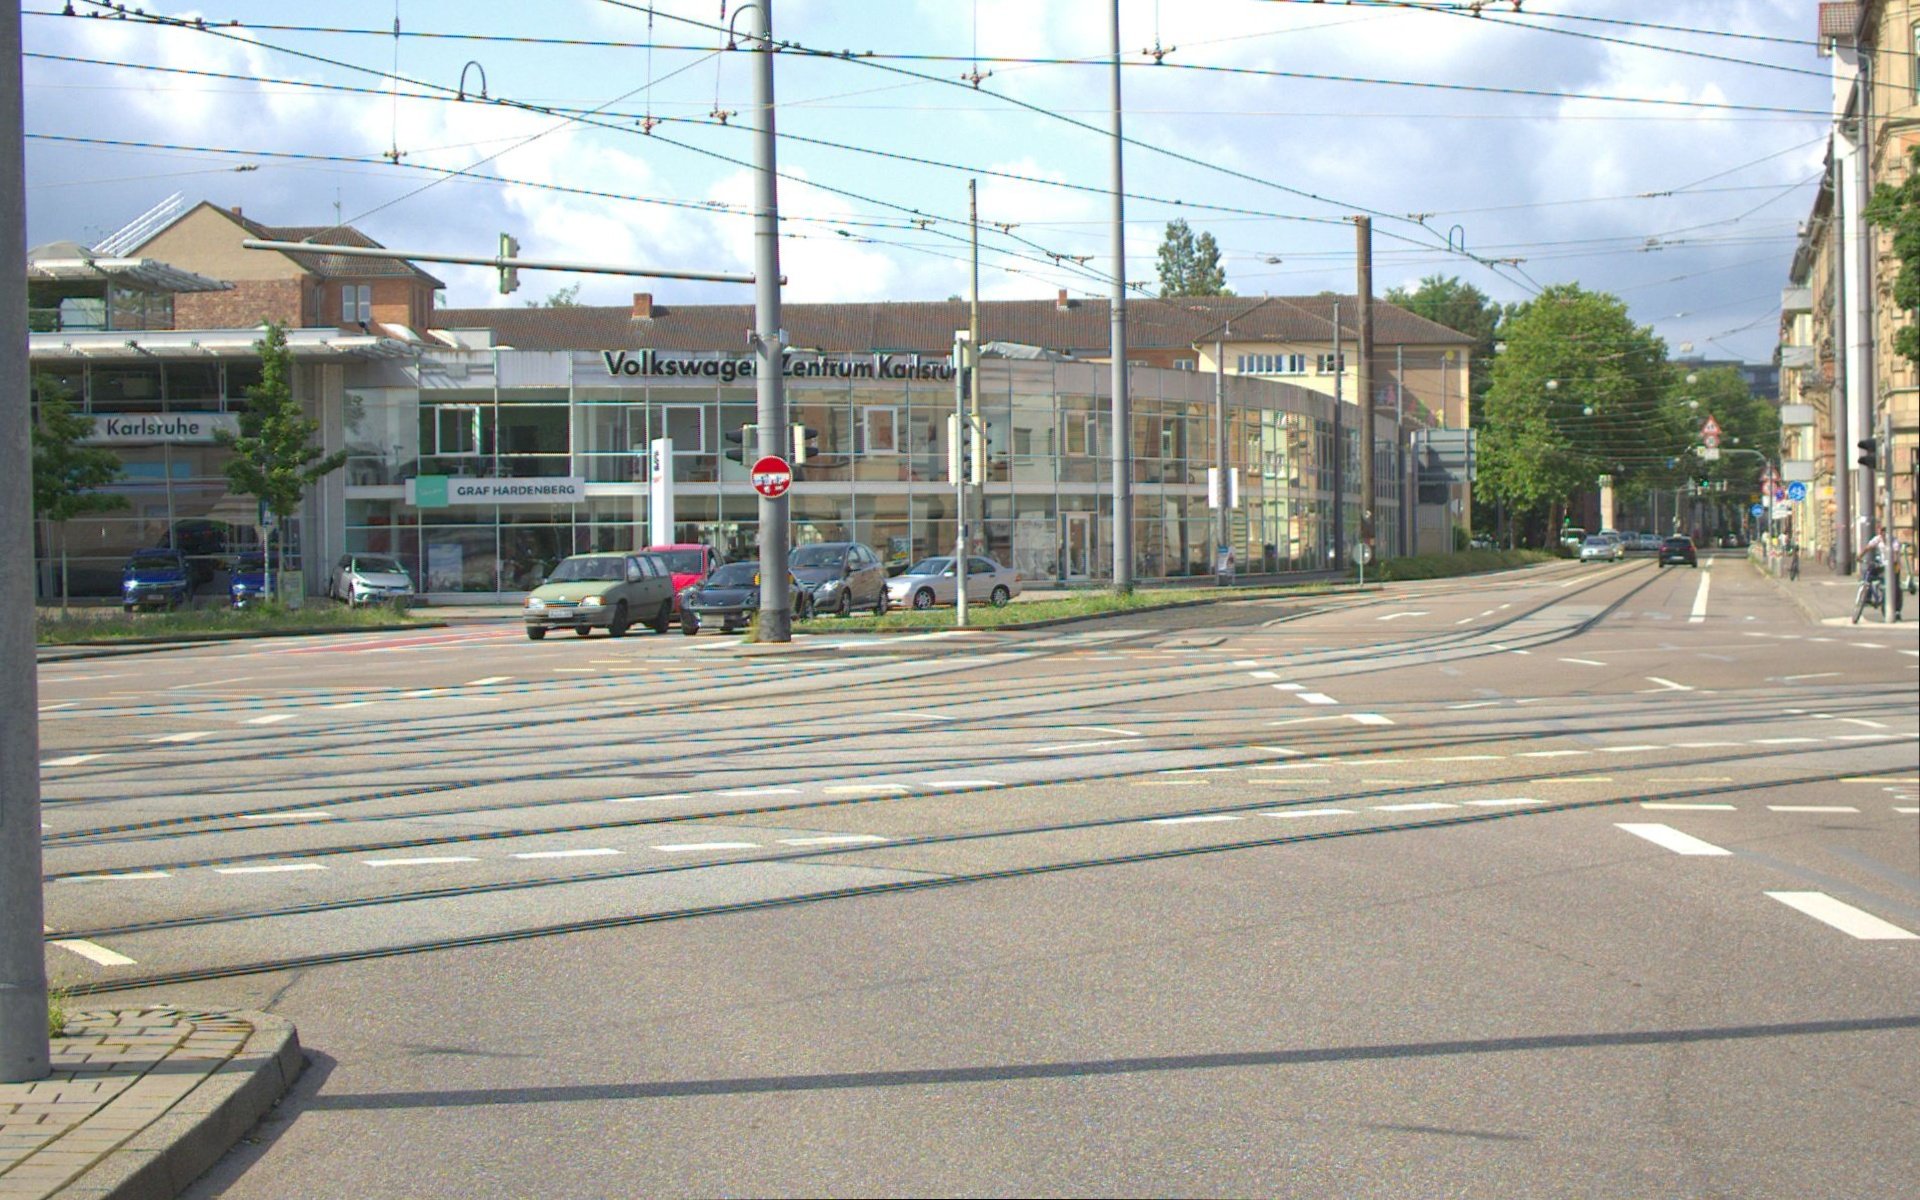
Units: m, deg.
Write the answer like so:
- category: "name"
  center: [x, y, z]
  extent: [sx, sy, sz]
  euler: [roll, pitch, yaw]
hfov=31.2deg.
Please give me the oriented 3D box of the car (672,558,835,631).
- category: "car"
  center: [-3.406, -0.121, 57.459]
  extent: [1.622, 1.157, 3.998]
  euler: [0, 1, 14]

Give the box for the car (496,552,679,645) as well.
- category: "car"
  center: [-6.226, -0.054, 57.877]
  extent: [1.821, 1.508, 3.998]
  euler: [0, 1, 14]

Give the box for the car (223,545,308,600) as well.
- category: "car"
  center: [-18.924, -0.763, 93.852]
  extent: [1.919, 1.440, 4.001]
  euler: [-1, 1, -6]

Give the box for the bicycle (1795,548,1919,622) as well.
- category: "bicycle"
  center: [15.580, -0.266, 58.403]
  extent: [2.671, 1.166, 0.901]
  euler: [-2, 2, -21]

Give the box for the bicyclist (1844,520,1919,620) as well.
- category: "bicyclist"
  center: [15.786, -0.523, 58.471]
  extent: [1.193, 1.652, 0.786]
  euler: [-2, 2, -21]

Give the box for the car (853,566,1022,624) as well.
- category: "car"
  center: [-0.551, -0.153, 89.051]
  extent: [1.780, 1.459, 4.470]
  euler: [1, 1, 43]

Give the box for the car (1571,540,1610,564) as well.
- category: "car"
  center: [34.984, -2.681, 190.747]
  extent: [1.994, 1.327, 3.999]
  euler: [0, 1, 9]

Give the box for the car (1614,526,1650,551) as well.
- category: "car"
  center: [39.866, -3.653, 204.063]
  extent: [1.994, 1.486, 3.999]
  euler: [-1, 1, 10]

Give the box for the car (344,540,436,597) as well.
- category: "car"
  center: [-15.862, -0.882, 95.852]
  extent: [1.919, 1.546, 4.000]
  euler: [0, 1, -1]

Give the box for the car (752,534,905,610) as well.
- category: "car"
  center: [-2.708, -0.604, 71.860]
  extent: [1.995, 1.546, 3.997]
  euler: [0, 1, 17]

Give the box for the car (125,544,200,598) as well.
- category: "car"
  center: [-21.793, -0.811, 94.067]
  extent: [1.919, 1.440, 4.001]
  euler: [-1, 1, -12]

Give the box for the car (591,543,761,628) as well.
- category: "car"
  center: [-5.243, -0.293, 63.974]
  extent: [1.995, 1.514, 3.998]
  euler: [0, 1, 14]

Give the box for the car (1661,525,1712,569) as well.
- category: "car"
  center: [33.289, -2.441, 157.507]
  extent: [1.995, 2.007, 3.997]
  euler: [0, 1, 16]
